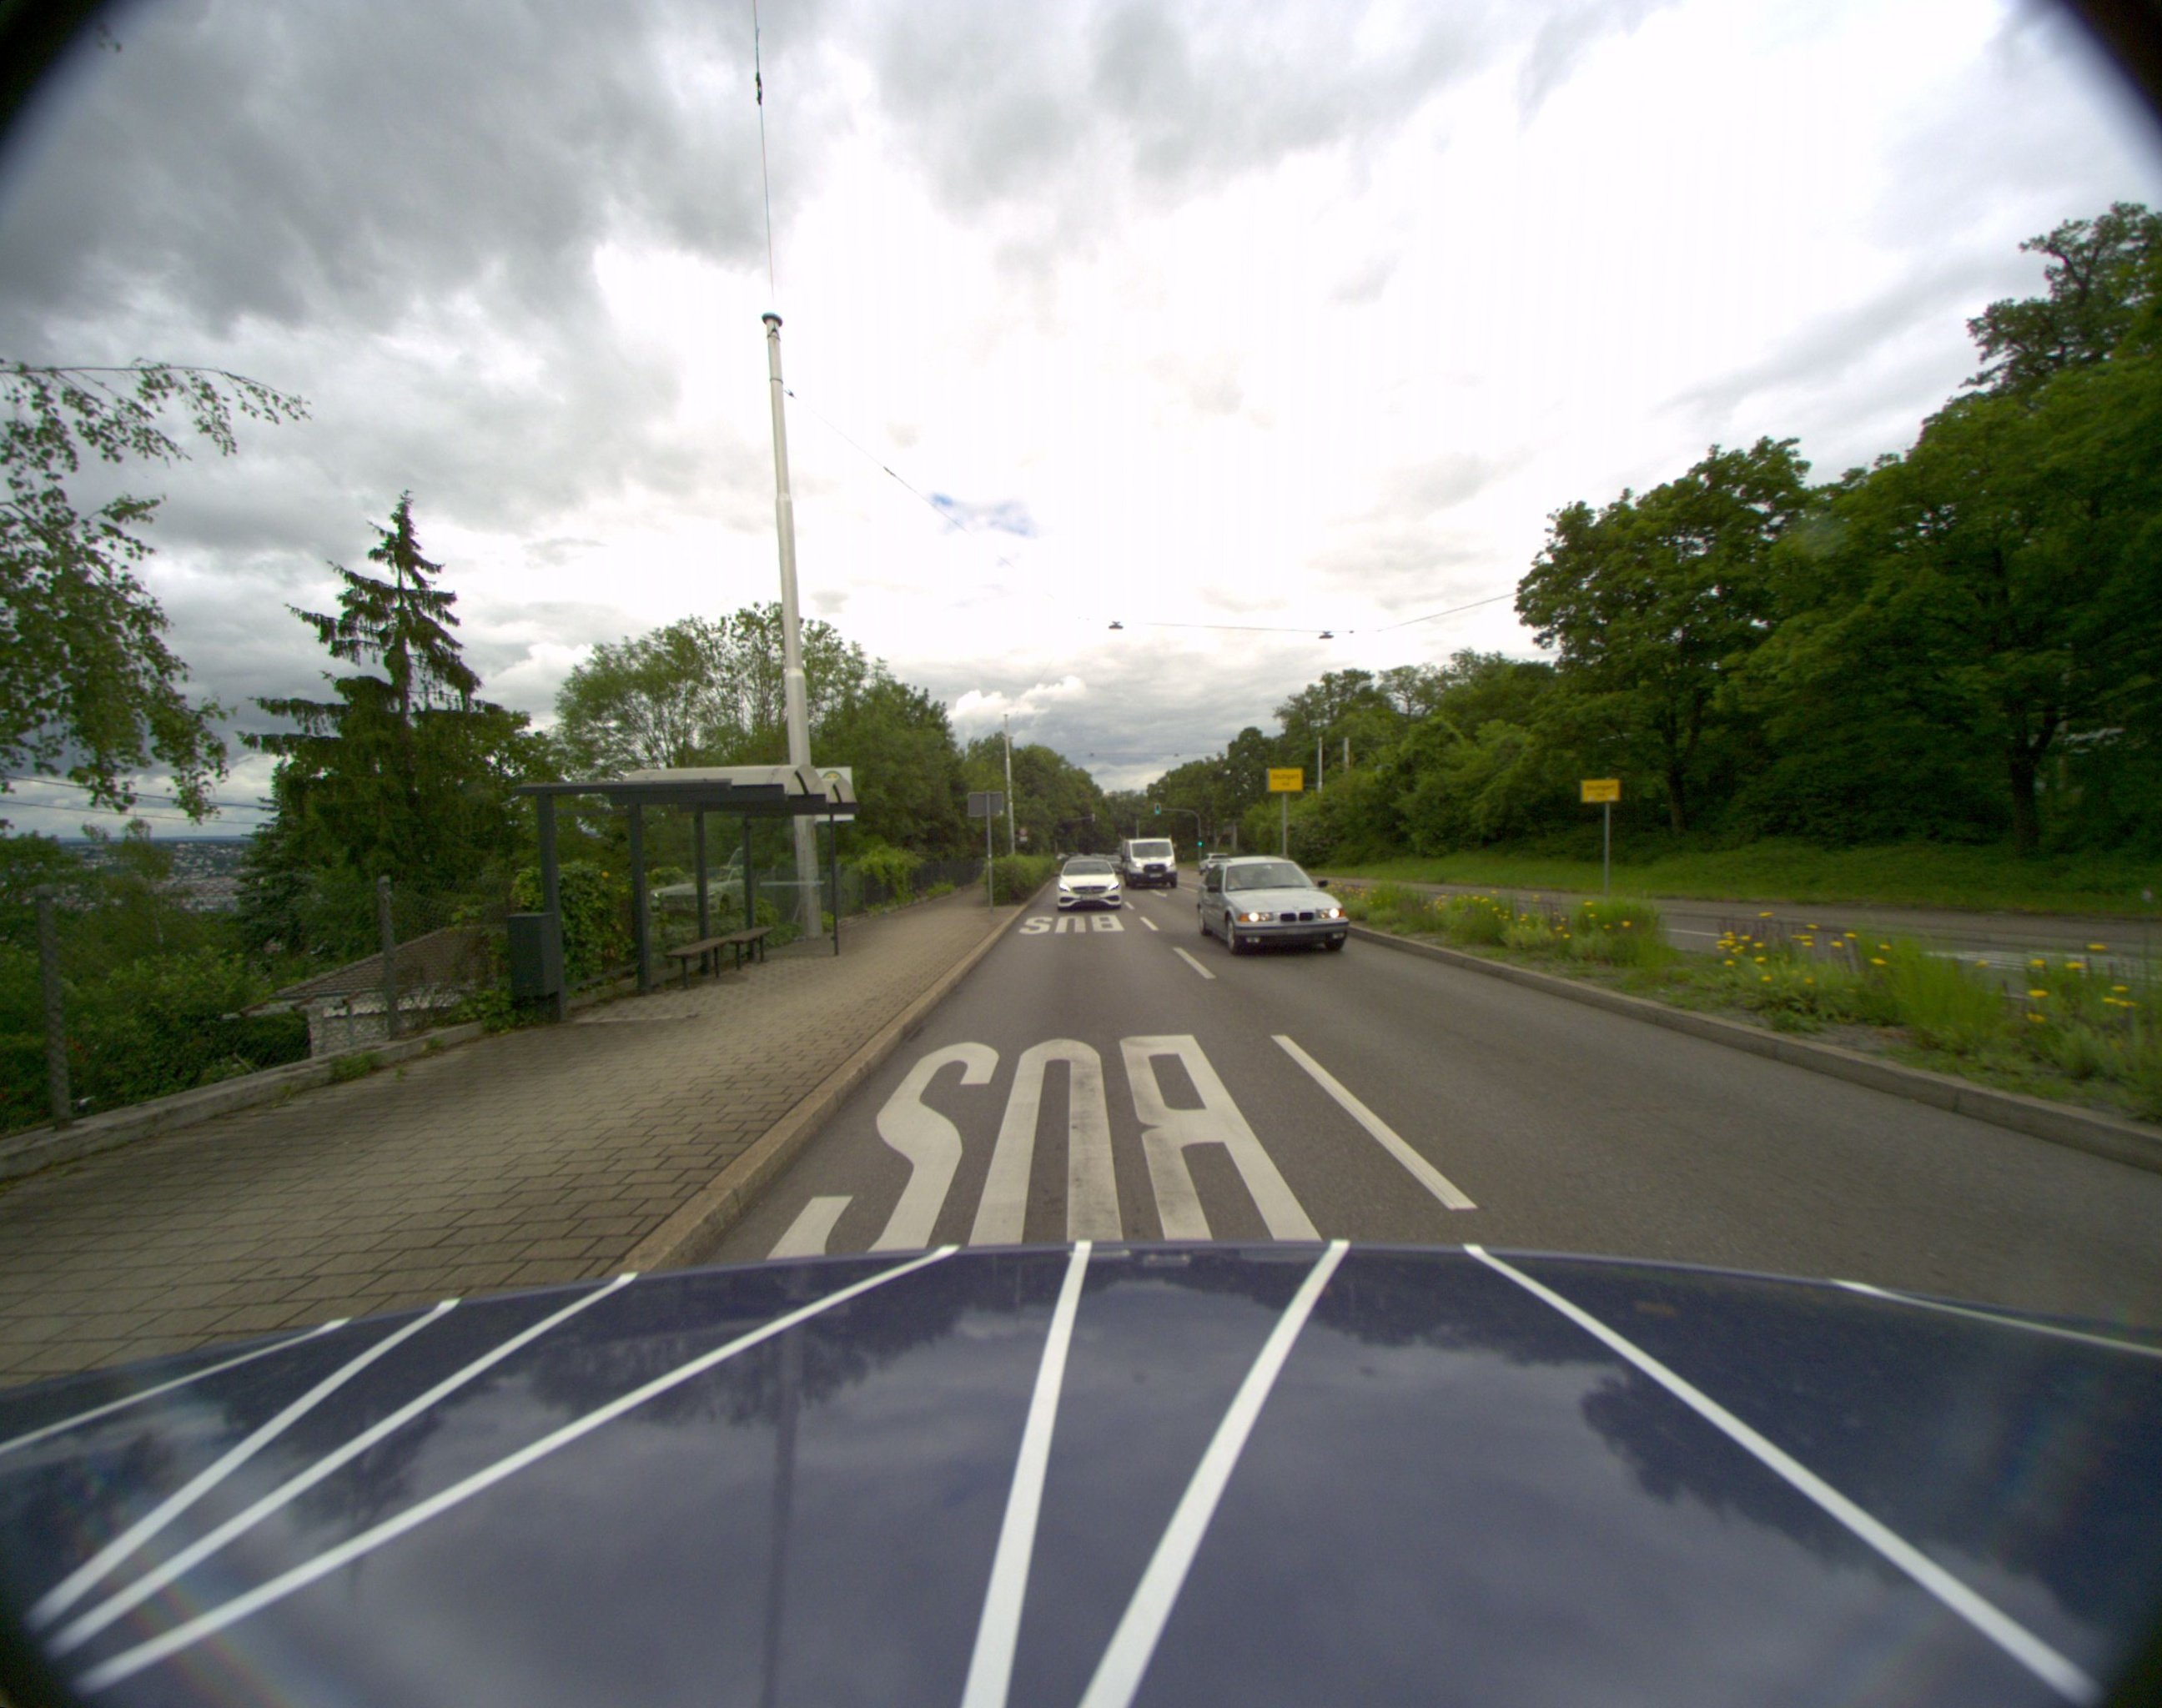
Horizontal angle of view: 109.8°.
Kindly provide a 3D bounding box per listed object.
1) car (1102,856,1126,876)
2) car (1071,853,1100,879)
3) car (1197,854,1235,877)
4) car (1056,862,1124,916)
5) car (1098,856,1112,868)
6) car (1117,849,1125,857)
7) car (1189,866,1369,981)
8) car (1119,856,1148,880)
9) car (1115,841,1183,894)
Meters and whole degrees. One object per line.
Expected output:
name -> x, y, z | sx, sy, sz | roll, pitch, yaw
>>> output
car -> 2.773, 0.980, 64.324 | 1.678, 1.532, 4.614 | -2, 0, -2
car -> 0.237, 0.720, 47.879 | 1.678, 1.532, 4.614 | -1, 0, -2
car -> 9.619, 0.790, 54.274 | 1.734, 1.532, 4.042 | -2, 0, -3
car -> 0.216, 0.963, 22.478 | 1.807, 1.385, 4.283 | -1, 0, -1
car -> 3.177, 1.031, 100.915 | 1.677, 1.532, 4.615 | -1, 0, 0
car -> 10.119, -0.267, 191.062 | 1.762, 1.863, 4.618 | -1, 0, 8
car -> 2.933, 0.954, 12.307 | 1.757, 1.385, 4.615 | -2, 0, 1
car -> 3.500, 0.898, 51.636 | 1.677, 1.532, 4.553 | -1, 0, 0
car -> 2.994, 0.568, 34.861 | 2.253, 2.113, 6.668 | -2, 0, -2
